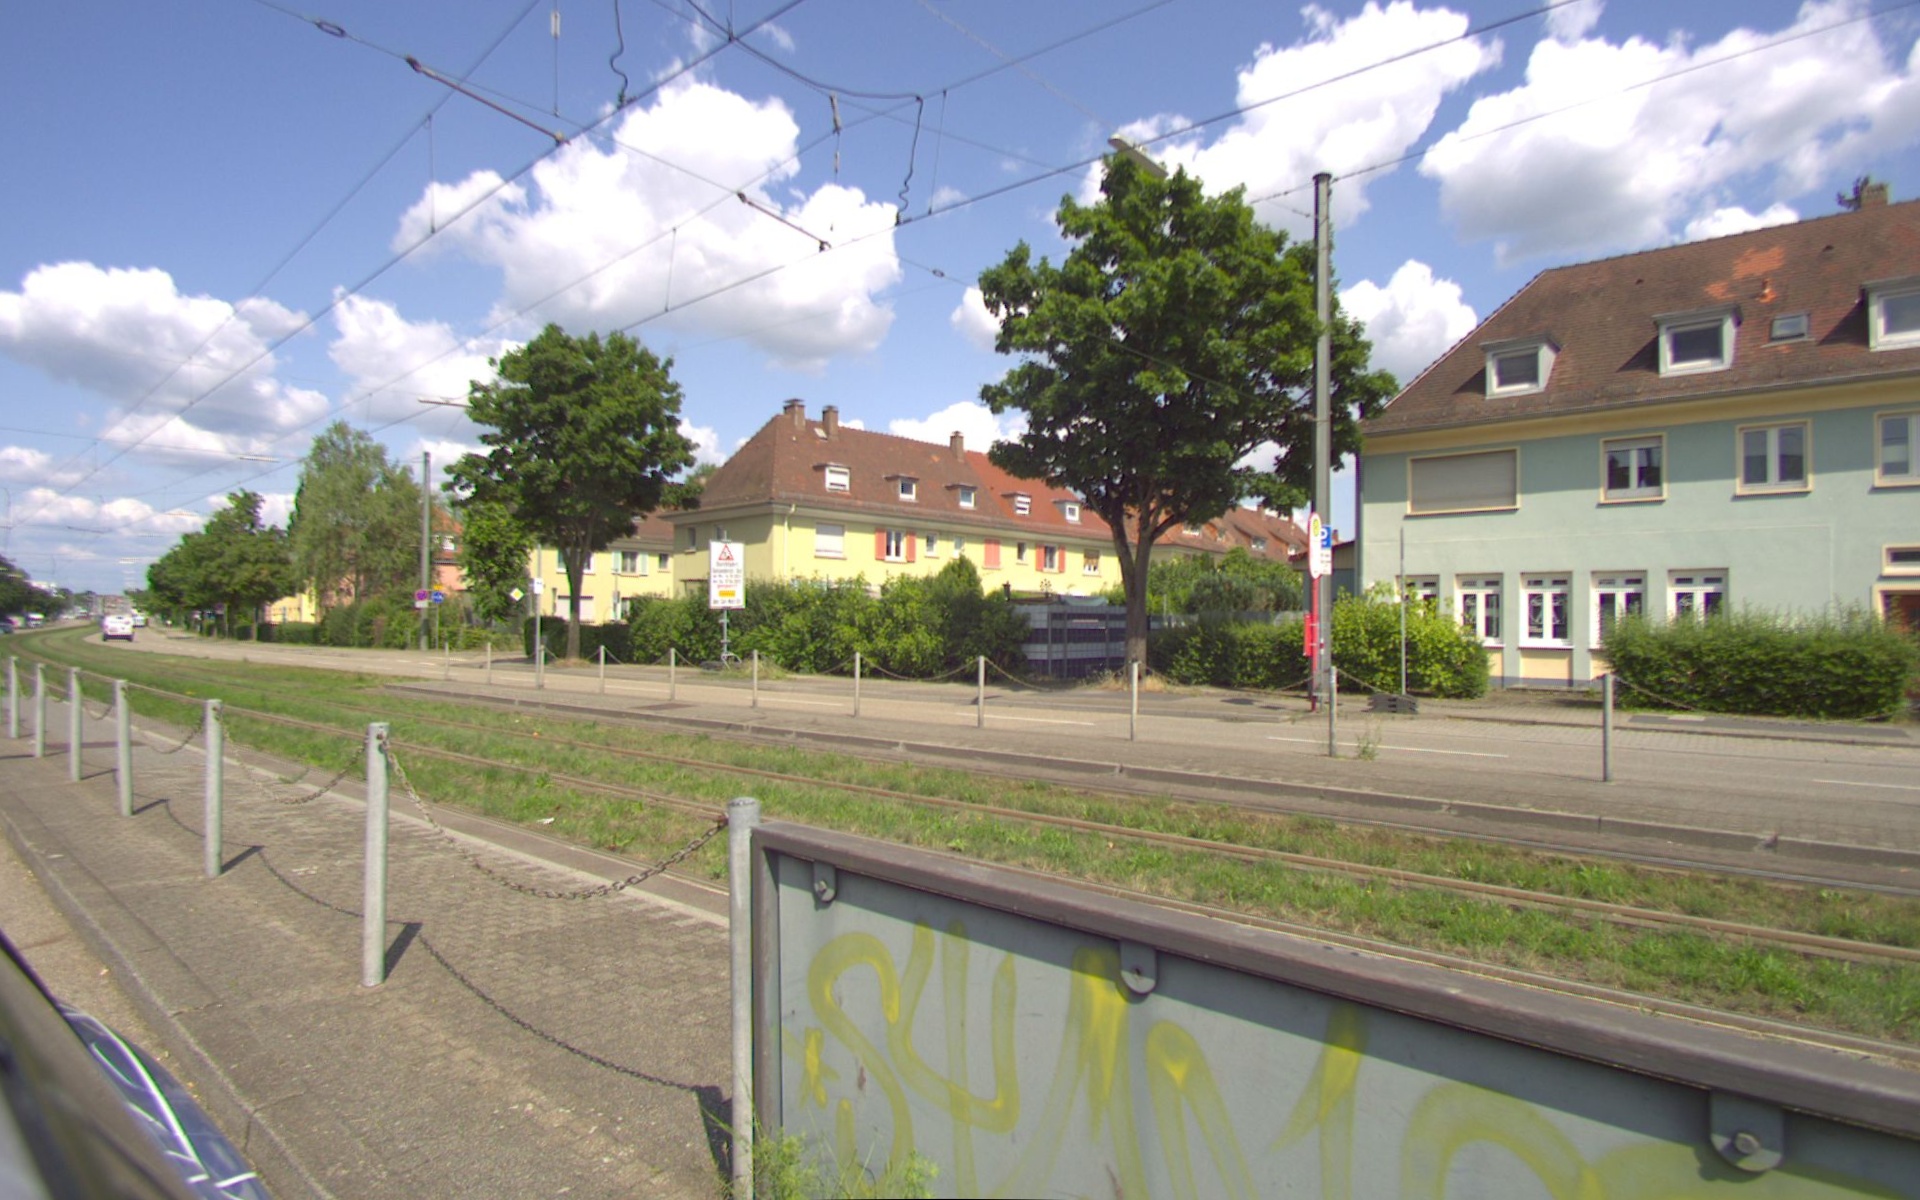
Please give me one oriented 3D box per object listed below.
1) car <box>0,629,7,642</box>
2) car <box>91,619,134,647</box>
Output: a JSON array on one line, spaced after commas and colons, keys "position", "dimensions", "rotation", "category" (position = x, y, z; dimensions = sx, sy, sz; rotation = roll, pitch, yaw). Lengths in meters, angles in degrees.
[{"position": [-117.102, 4.369, 122.858], "dimensions": [1.969, 1.497, 4.005], "rotation": [0, -1, -42], "category": "car"}, {"position": [-76.392, 2.986, 91.179], "dimensions": [5.332, 2.390, 2.172], "rotation": [-1, -3, 42], "category": "car"}]
